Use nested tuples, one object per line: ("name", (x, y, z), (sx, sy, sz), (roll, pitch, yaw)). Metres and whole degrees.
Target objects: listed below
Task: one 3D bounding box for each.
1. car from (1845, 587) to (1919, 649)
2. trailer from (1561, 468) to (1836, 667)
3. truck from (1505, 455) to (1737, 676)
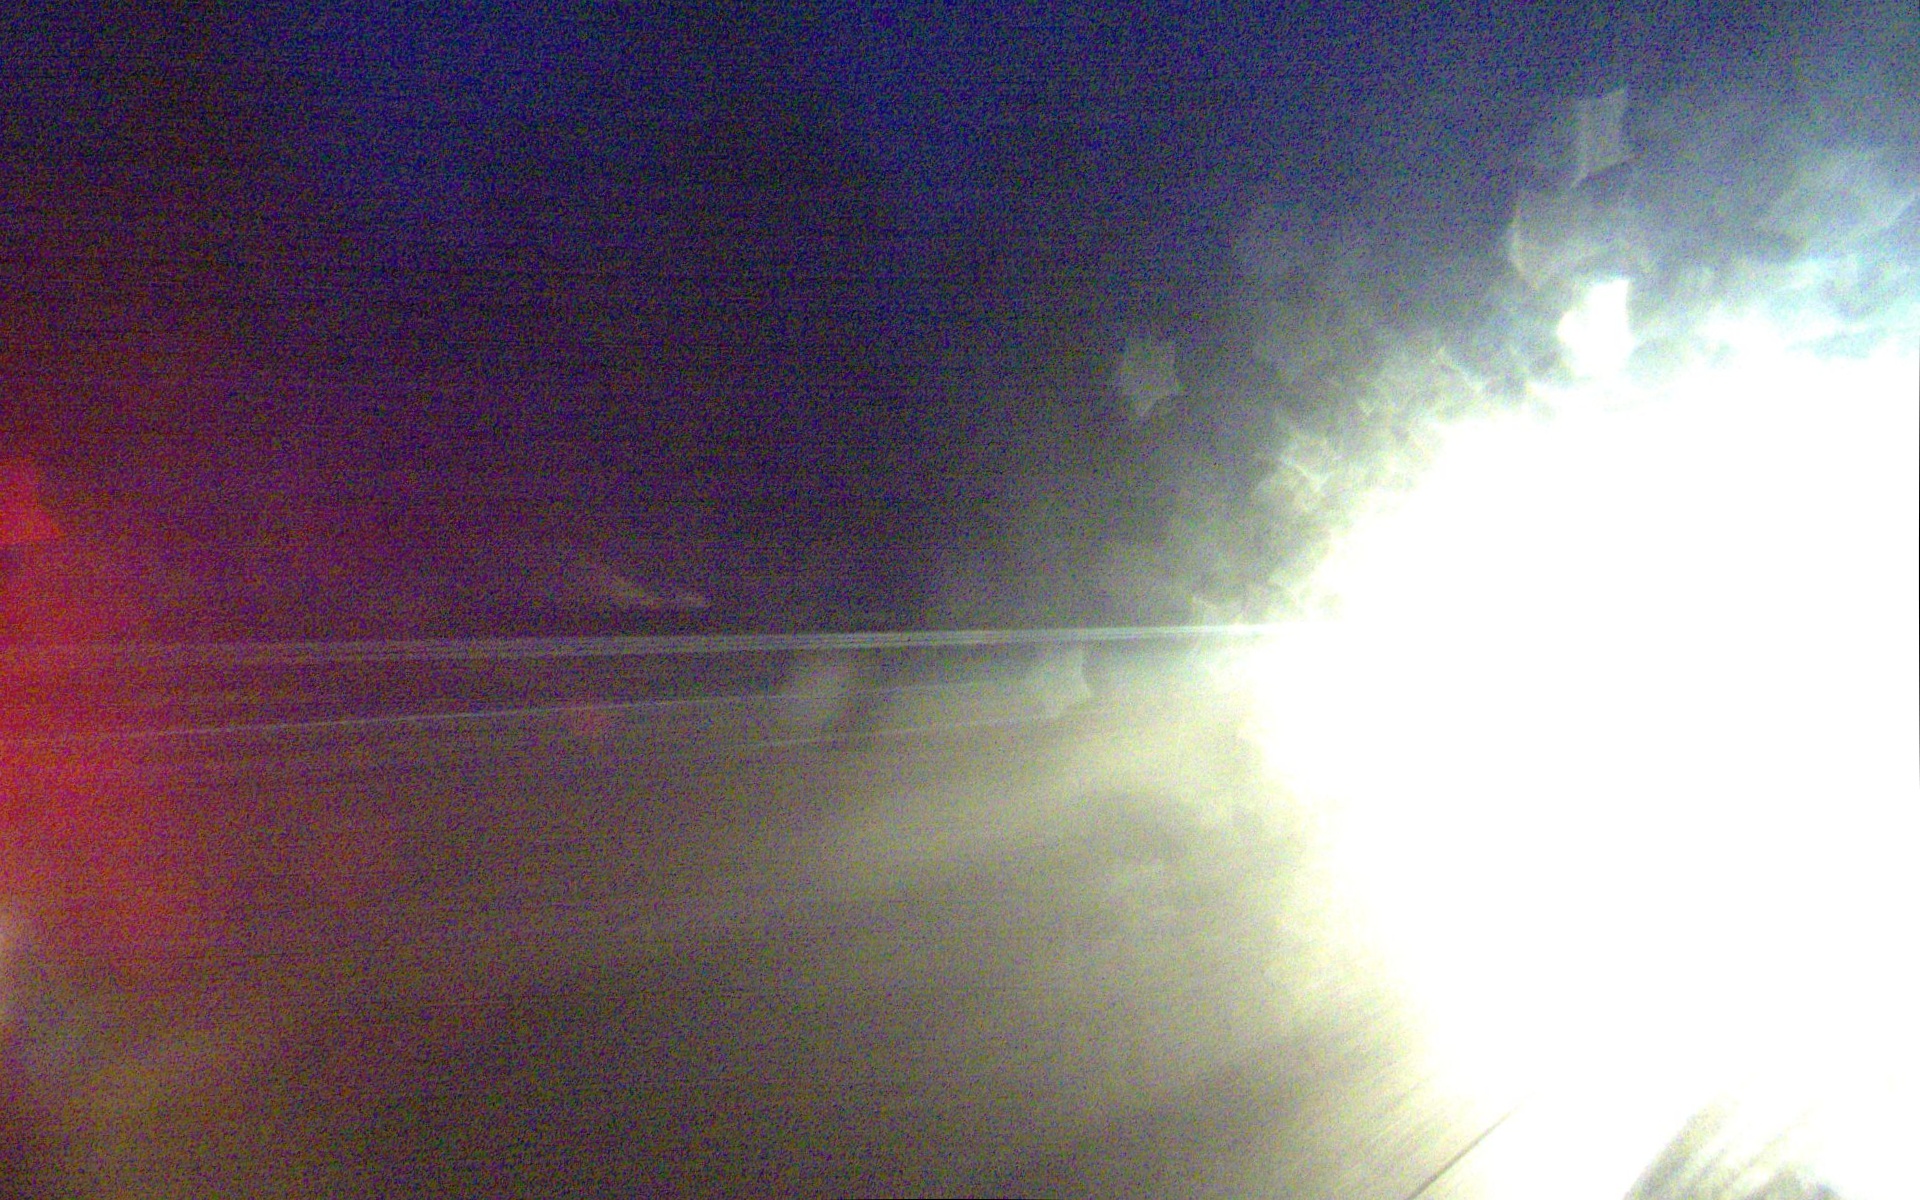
("car", (32.795, 0.586, 35.470), (3.928, 2.039, 1.998), (0, 1, -39))
("trailer", (19.410, -0.735, 25.957), (13.578, 4.028, 2.744), (-1, 0, -41))
("truck", (13.888, -0.664, 21.157), (5.107, 4.019, 2.780), (-1, 0, -41))
